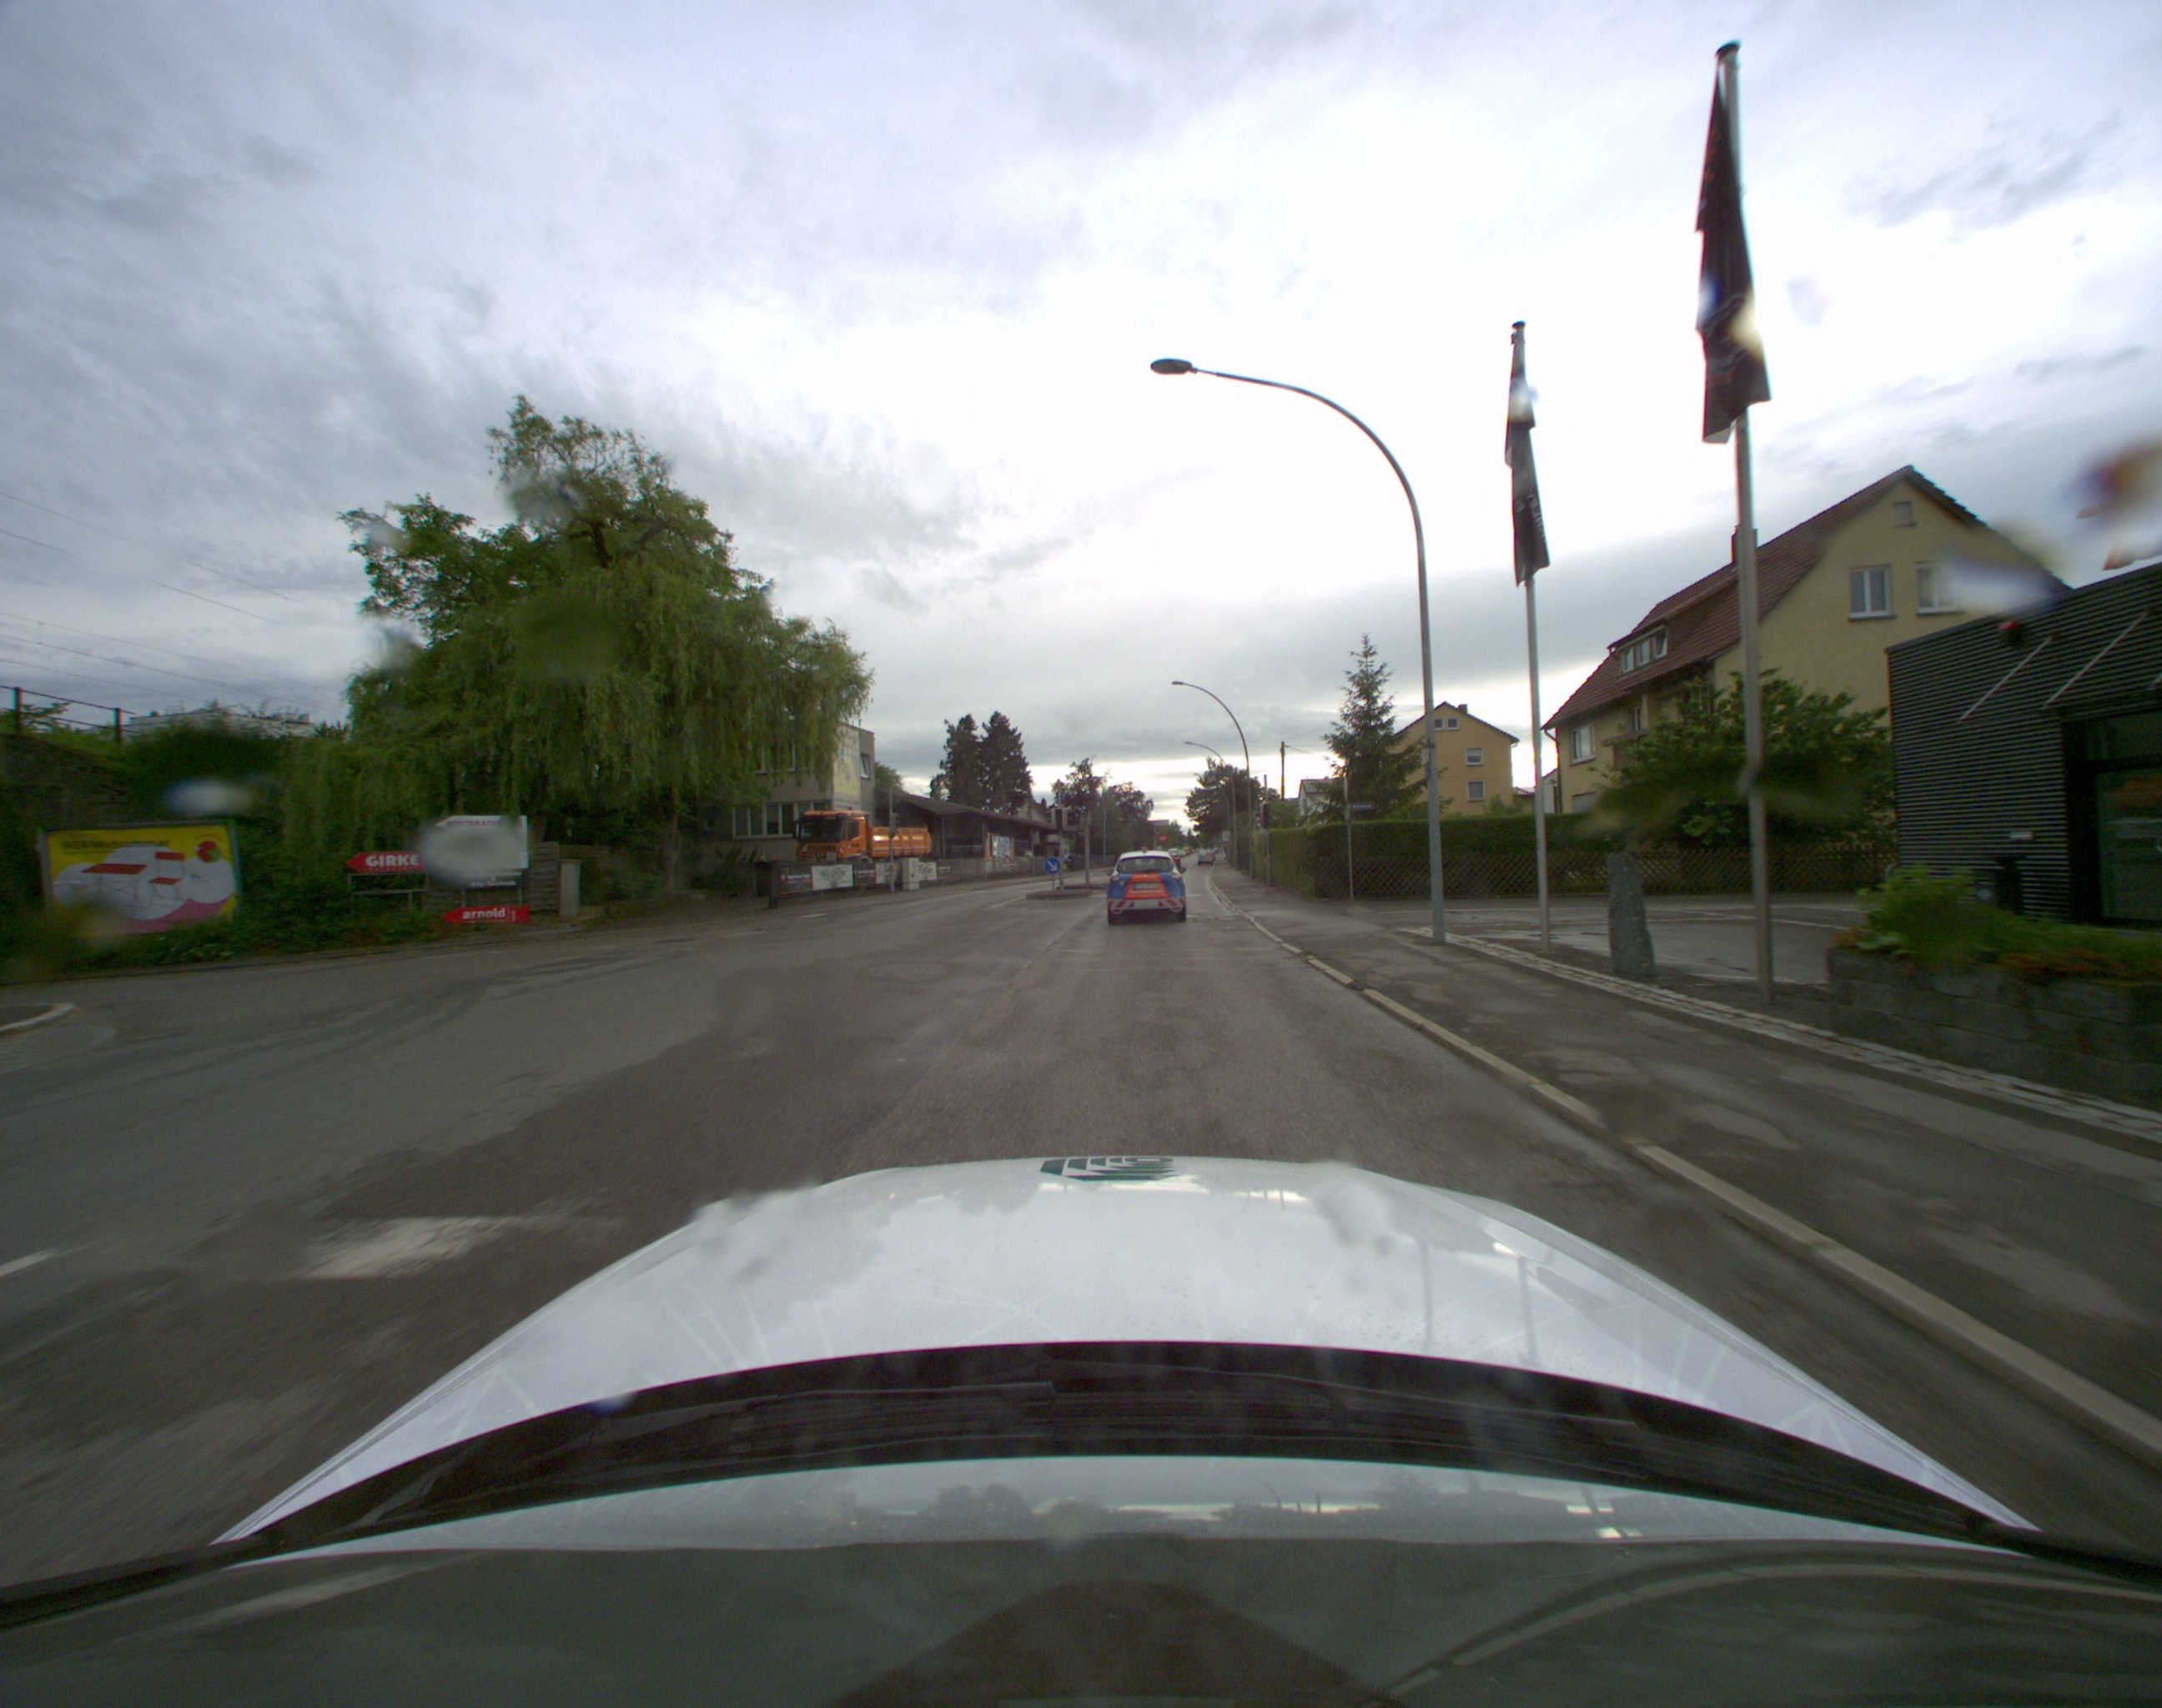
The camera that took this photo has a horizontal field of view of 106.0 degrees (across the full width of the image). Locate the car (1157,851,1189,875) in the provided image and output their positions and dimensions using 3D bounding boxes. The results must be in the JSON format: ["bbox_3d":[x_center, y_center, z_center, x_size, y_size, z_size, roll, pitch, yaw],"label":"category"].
[{"bbox_3d":[5.567,0.572,49.658,1.713,1.376,3.936,1,-2,3],"label":"car"}]

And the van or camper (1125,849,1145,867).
[{"bbox_3d":[6.593,0.478,99.191,1.879,2.014,5.109,0,-2,9],"label":"van or camper"}]

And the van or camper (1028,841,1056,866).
[{"bbox_3d":[-4.014,-0.011,84.593,1.849,2.438,5.244,1,-2,8],"label":"van or camper"}]

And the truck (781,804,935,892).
[{"bbox_3d":[-9.606,-0.101,36.507,2.679,3.412,9.100,0,-2,12],"label":"truck"}]

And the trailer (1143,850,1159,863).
[{"bbox_3d":[10.821,0.366,125.663,2.208,2.013,4.446,-2,0,8],"label":"trailer"}]

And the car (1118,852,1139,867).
[{"bbox_3d":[5.408,0.630,92.337,1.732,1.480,4.194,-4,-2,10],"label":"car"}]

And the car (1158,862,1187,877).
[{"bbox_3d":[8.852,1.506,79.076,1.990,1.420,3.992,1,-2,-5],"label":"car"}]

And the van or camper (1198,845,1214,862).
[{"bbox_3d":[14.721,-0.085,96.210,1.745,1.883,4.007,1,-2,7],"label":"van or camper"}]

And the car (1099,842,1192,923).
[{"bbox_3d":[1.531,0.596,19.073,1.879,1.632,4.006,-2,0,5],"label":"car"}]

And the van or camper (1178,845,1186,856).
[{"bbox_3d":[27.296,-1.013,219.521,1.982,2.775,5.453,-2,0,8],"label":"van or camper"}]

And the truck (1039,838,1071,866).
[{"bbox_3d":[-2.869,-0.155,90.224,2.380,2.927,5.972,0,-1,9],"label":"truck"}]

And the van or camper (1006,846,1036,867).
[{"bbox_3d":[-5.679,0.259,77.856,1.983,1.909,4.480,1,0,7],"label":"van or camper"}]
